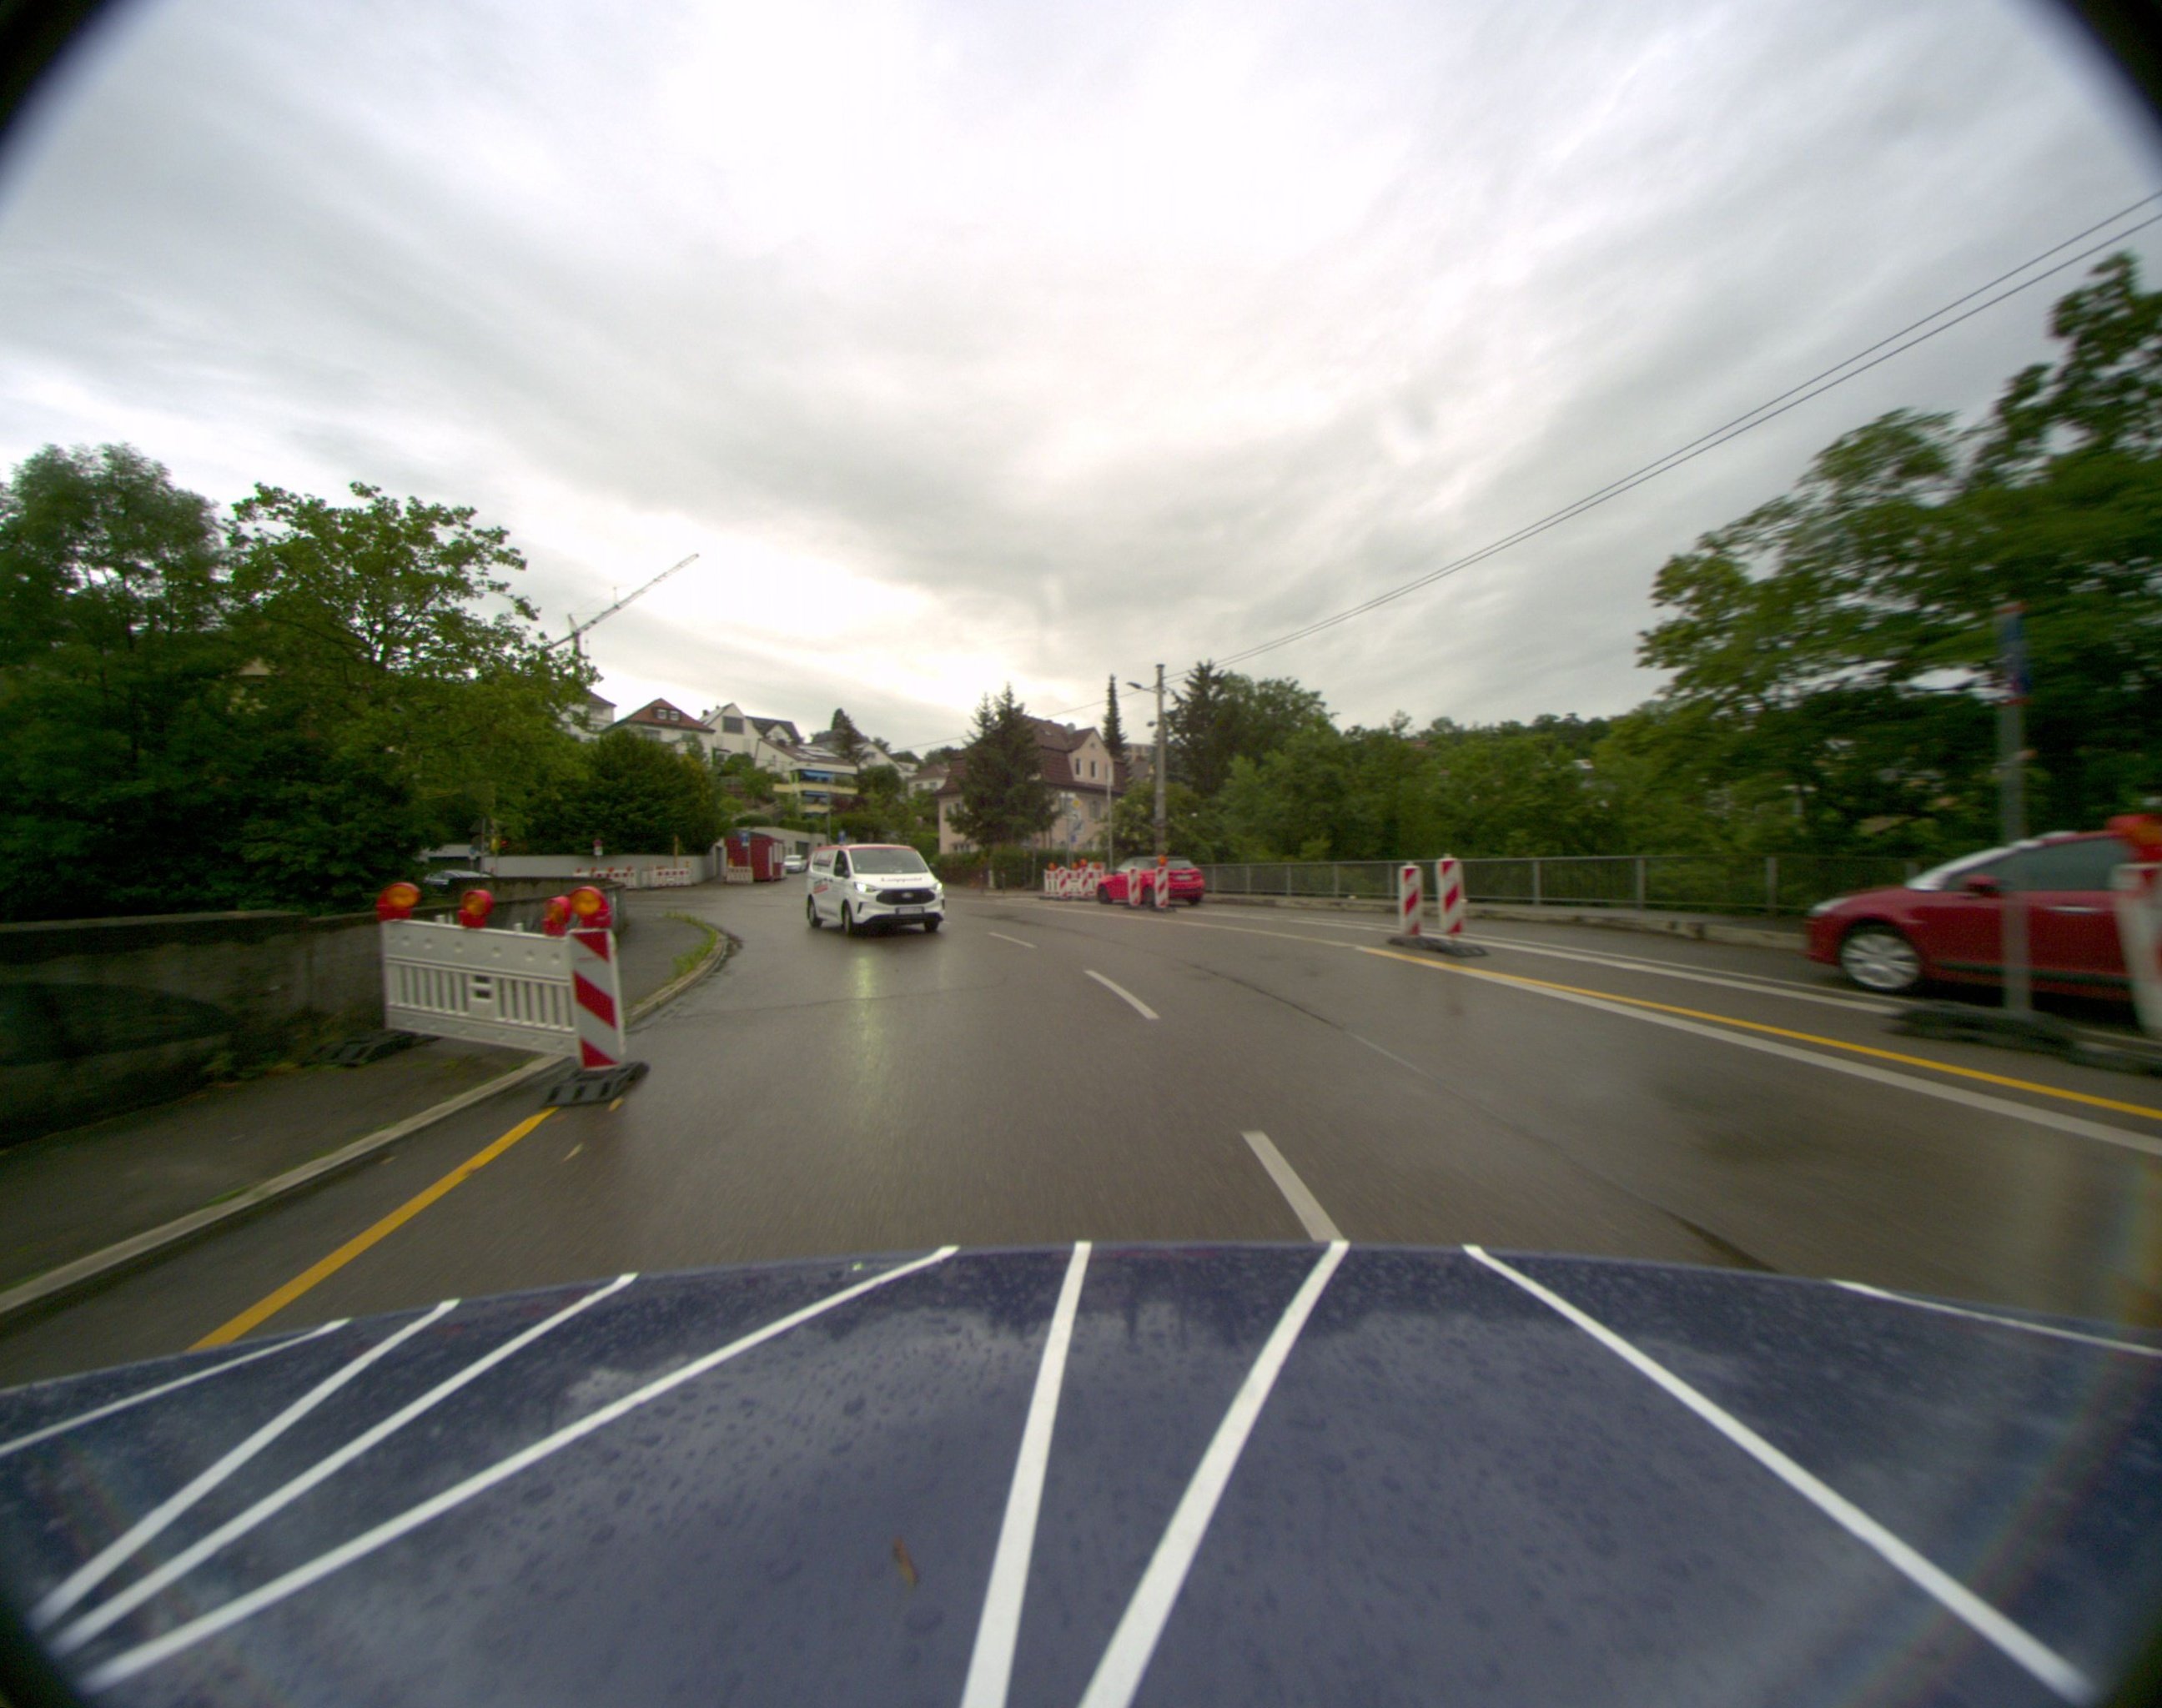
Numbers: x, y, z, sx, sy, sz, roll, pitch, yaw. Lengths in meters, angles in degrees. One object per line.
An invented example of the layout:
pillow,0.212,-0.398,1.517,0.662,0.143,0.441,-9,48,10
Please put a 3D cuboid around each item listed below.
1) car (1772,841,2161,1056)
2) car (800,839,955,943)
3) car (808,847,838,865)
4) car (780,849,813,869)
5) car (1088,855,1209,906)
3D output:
car,8.236,0.630,5.700,1.966,1.431,4.321,-2,0,-5
car,-4.825,0.757,17.425,2.003,2.002,4.937,-2,0,-32
car,-25.233,0.192,74.470,1.874,1.651,3.999,1,-2,-6
car,-24.929,0.417,66.688,2.000,1.652,3.996,1,1,-9
car,1.968,0.743,23.323,1.693,1.390,4.126,0,0,-29
